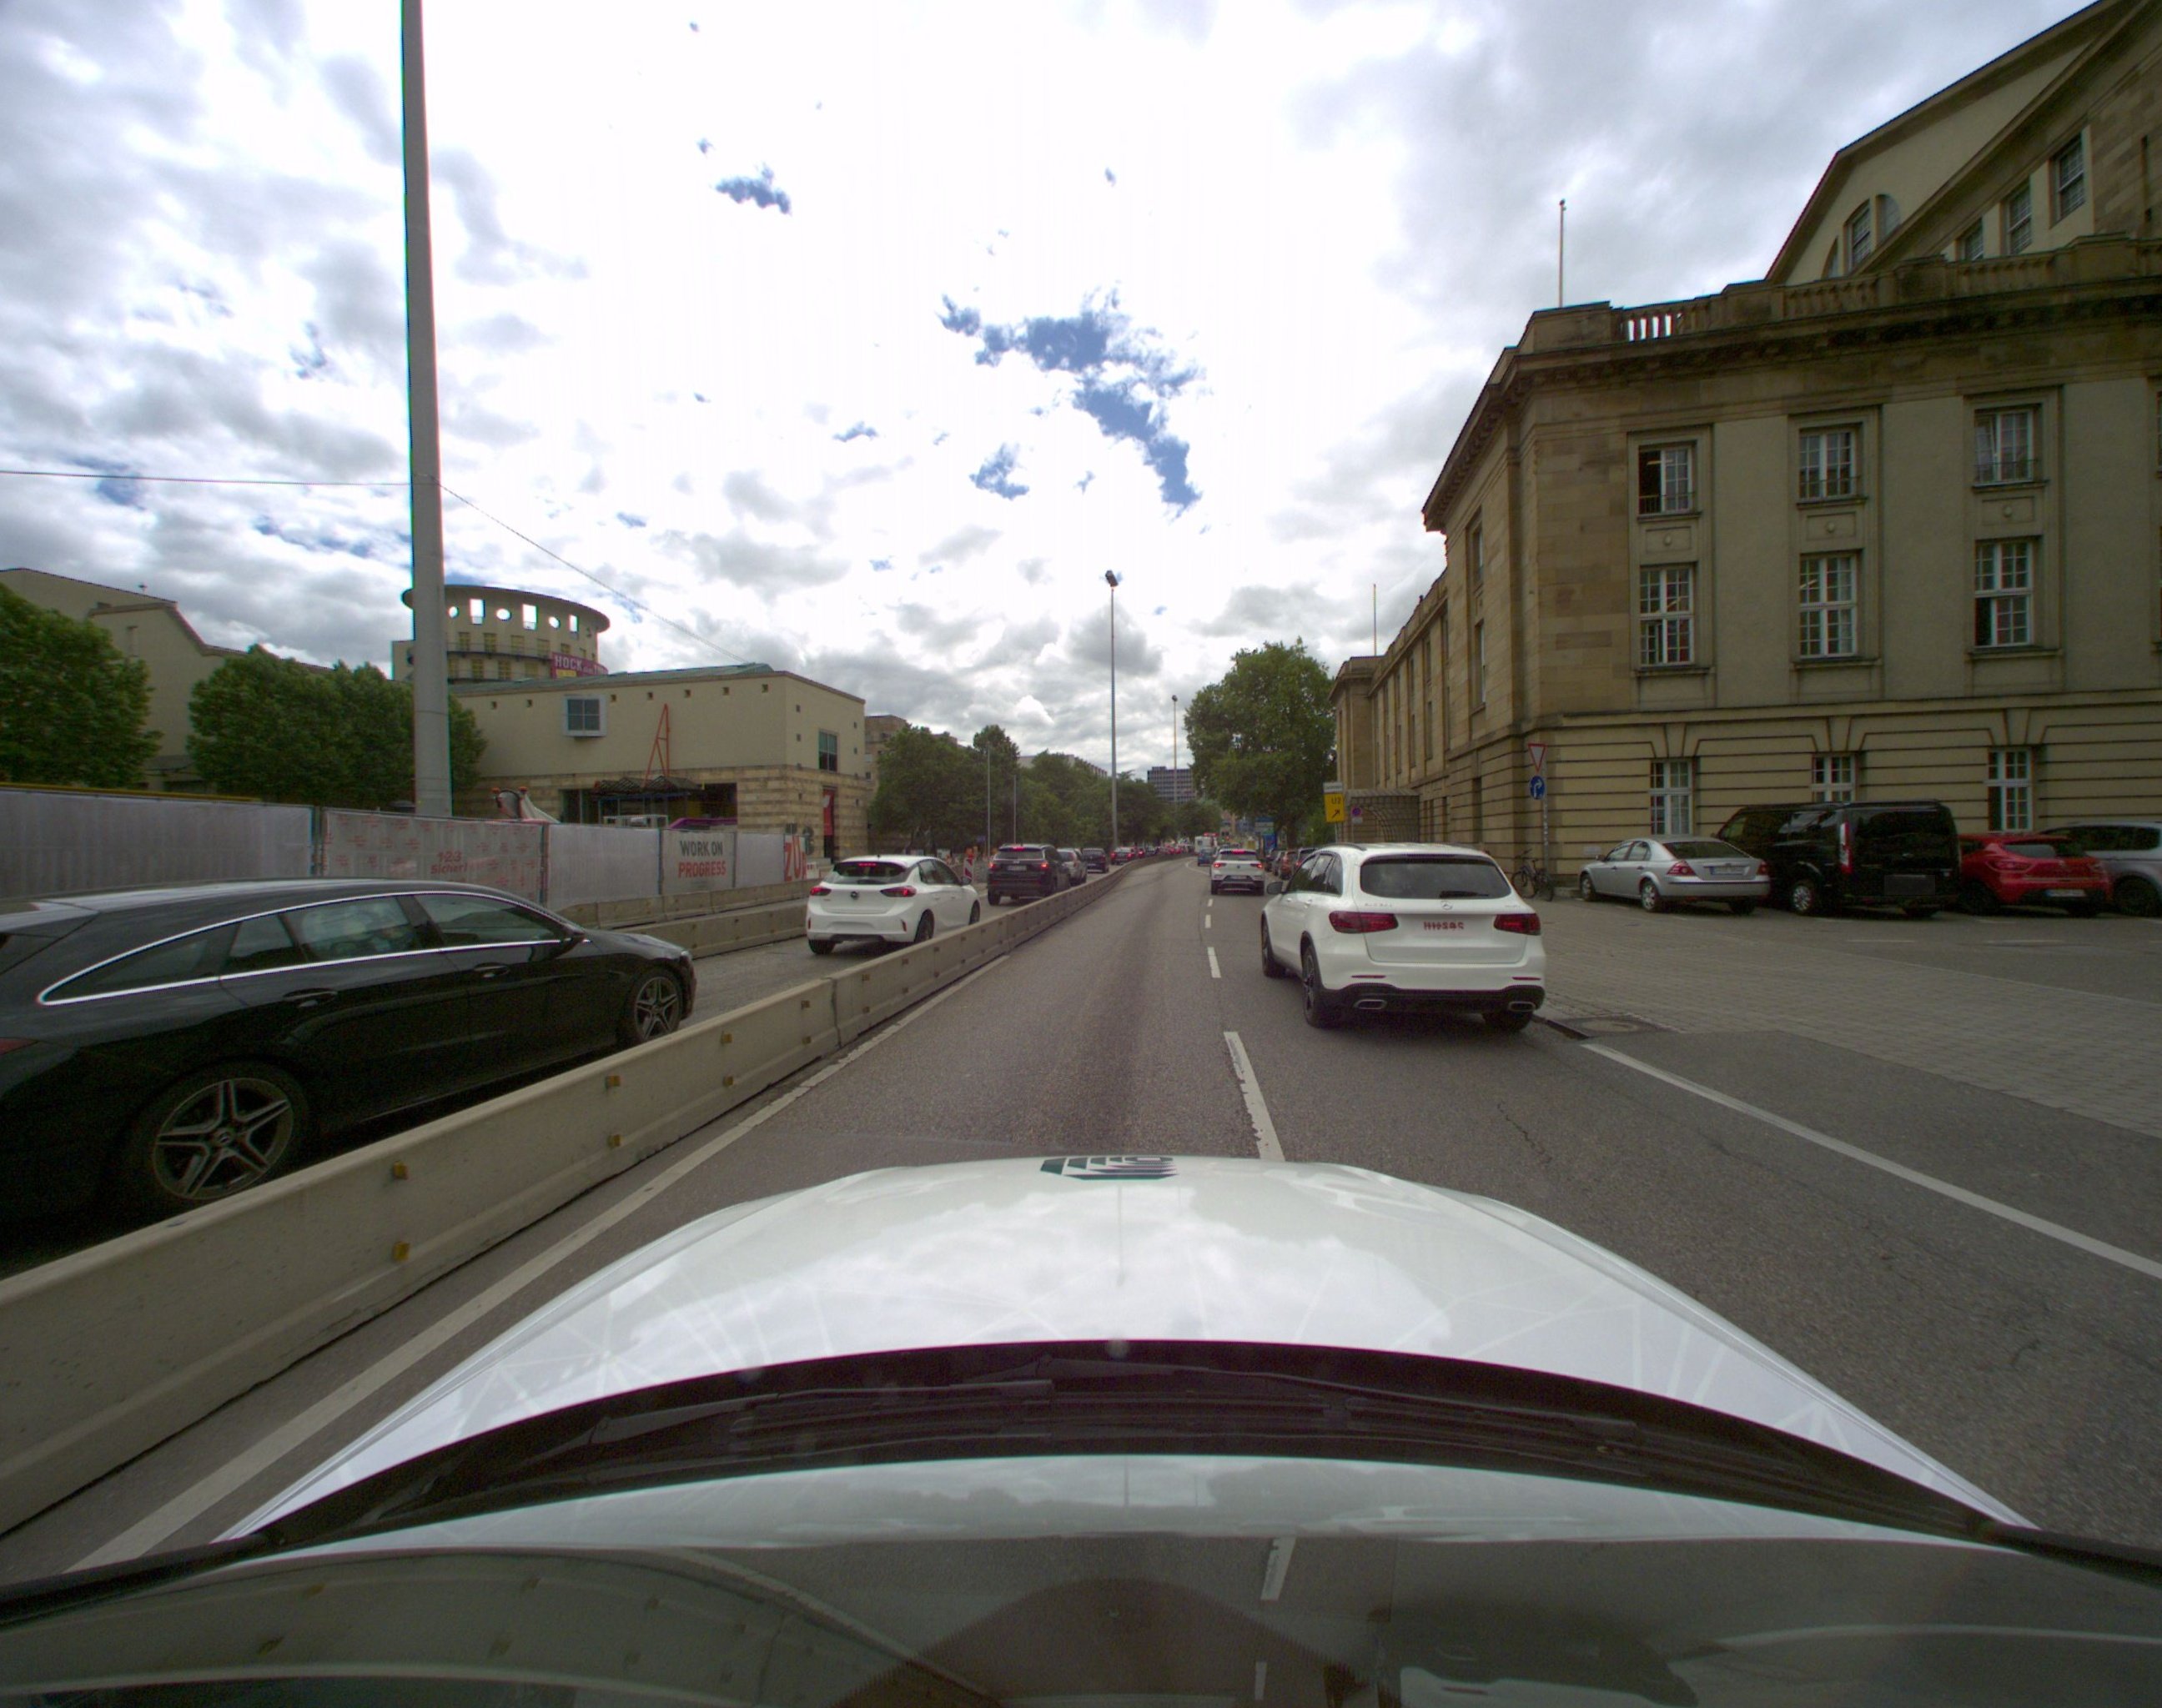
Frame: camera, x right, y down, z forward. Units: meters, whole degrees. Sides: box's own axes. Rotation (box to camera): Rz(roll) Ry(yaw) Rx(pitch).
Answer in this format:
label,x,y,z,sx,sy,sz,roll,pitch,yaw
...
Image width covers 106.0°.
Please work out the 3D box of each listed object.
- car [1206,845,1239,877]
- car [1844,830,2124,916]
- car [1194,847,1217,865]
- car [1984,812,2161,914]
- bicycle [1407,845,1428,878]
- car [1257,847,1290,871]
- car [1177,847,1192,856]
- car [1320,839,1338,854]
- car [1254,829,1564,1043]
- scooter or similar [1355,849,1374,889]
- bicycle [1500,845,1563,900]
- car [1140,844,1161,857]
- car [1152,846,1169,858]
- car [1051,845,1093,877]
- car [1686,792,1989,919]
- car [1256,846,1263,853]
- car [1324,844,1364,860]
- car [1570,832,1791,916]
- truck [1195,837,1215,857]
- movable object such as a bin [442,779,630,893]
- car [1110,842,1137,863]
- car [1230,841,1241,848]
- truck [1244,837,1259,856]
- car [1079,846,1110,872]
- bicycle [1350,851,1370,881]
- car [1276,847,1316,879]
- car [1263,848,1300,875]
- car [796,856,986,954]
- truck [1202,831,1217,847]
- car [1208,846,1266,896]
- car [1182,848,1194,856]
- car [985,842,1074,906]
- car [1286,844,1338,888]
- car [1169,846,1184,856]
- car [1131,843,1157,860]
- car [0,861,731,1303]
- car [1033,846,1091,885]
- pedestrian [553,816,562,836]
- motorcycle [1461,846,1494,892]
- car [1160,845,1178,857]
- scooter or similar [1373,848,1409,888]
label,x,y,z,sx,sy,sz,roll,pitch,yaw
car,7.561,0.321,43.685,1.649,1.639,3.557,0,0,9
car,16.623,0.278,15.288,1.633,1.413,3.627,0,1,10
car,10.091,0.146,65.872,1.648,1.413,3.558,0,0,11
car,18.751,0.122,14.549,1.633,1.669,3.627,0,1,10
bicycle,13.549,0.274,32.839,0.409,1.288,1.796,-1,0,11
car,12.341,0.292,52.409,1.777,1.486,4.337,0,0,9
car,14.708,-0.358,115.984,1.647,1.319,3.561,0,0,15
car,29.181,-0.902,95.987,1.748,1.551,4.042,-1,2,13
car,2.983,0.612,8.477,1.779,1.625,4.443,0,0,5
scooter or similar,9.233,0.480,26.546,0.377,1.261,1.407,-1,0,11
bicycle,10.802,0.422,19.599,0.605,1.224,1.967,-4,0,8
car,7.433,-0.356,86.400,1.667,1.367,4.558,-1,0,11
car,9.331,-0.208,95.388,1.650,1.436,3.973,0,0,11
car,-0.425,0.326,41.199,1.664,1.507,3.861,0,0,6
car,14.185,-0.024,15.794,1.936,2.068,4.930,0,1,10
car,41.367,-1.019,188.676,1.747,1.669,4.182,0,1,12
car,26.939,-0.215,83.566,3.810,1.568,1.685,0,0,11
car,11.868,0.299,16.557,1.767,1.469,4.588,0,1,10
truck,18.946,-1.066,123.970,2.604,2.861,7.100,1,1,11
movable object such as a bin,-11.418,-0.359,17.334,1.513,2.185,3.299,-1,0,7
car,3.524,-0.107,66.774,1.913,1.636,4.946,0,0,7
car,31.262,-1.844,164.474,1.933,1.319,4.031,0,0,13
truck,36.978,-1.614,176.788,2.859,4.103,6.658,1,1,11
car,0.853,0.263,48.371,1.652,1.454,4.202,0,0,4
bicycle,11.235,0.476,32.833,0.457,1.156,1.836,-1,0,10
car,10.622,0.414,40.348,1.605,1.455,3.870,-2,0,11
car,11.189,0.382,45.617,1.698,1.426,4.008,-2,0,10
car,-2.820,0.692,13.041,1.717,1.296,3.942,0,0,7
truck,25.728,-3.019,163.192,2.675,2.991,5.655,1,0,11
car,5.341,0.523,28.250,1.786,1.608,3.763,0,1,7
car,17.673,-0.391,134.629,1.648,1.319,3.560,0,0,13
car,-1.347,0.501,22.895,1.767,1.621,4.054,0,0,7
car,9.138,0.430,32.437,1.536,1.552,3.718,-3,0,9
car,13.025,-0.387,111.121,1.648,1.319,3.560,0,0,13
car,5.807,-0.211,74.801,1.804,1.499,4.784,-1,0,12
car,-4.285,0.802,4.873,1.843,1.415,4.577,1,0,9
car,-0.715,0.435,33.699,1.869,1.481,4.711,0,0,5
pedestrian,-53.341,-2.886,83.023,0.409,2.013,0.602,1,0,11
motorcycle,11.177,0.409,22.994,0.451,1.242,1.930,-2,0,15
car,11.171,-0.431,103.430,1.764,1.420,4.014,-1,1,13
scooter or similar,9.978,0.462,26.256,0.451,1.253,1.365,-1,-1,-9
